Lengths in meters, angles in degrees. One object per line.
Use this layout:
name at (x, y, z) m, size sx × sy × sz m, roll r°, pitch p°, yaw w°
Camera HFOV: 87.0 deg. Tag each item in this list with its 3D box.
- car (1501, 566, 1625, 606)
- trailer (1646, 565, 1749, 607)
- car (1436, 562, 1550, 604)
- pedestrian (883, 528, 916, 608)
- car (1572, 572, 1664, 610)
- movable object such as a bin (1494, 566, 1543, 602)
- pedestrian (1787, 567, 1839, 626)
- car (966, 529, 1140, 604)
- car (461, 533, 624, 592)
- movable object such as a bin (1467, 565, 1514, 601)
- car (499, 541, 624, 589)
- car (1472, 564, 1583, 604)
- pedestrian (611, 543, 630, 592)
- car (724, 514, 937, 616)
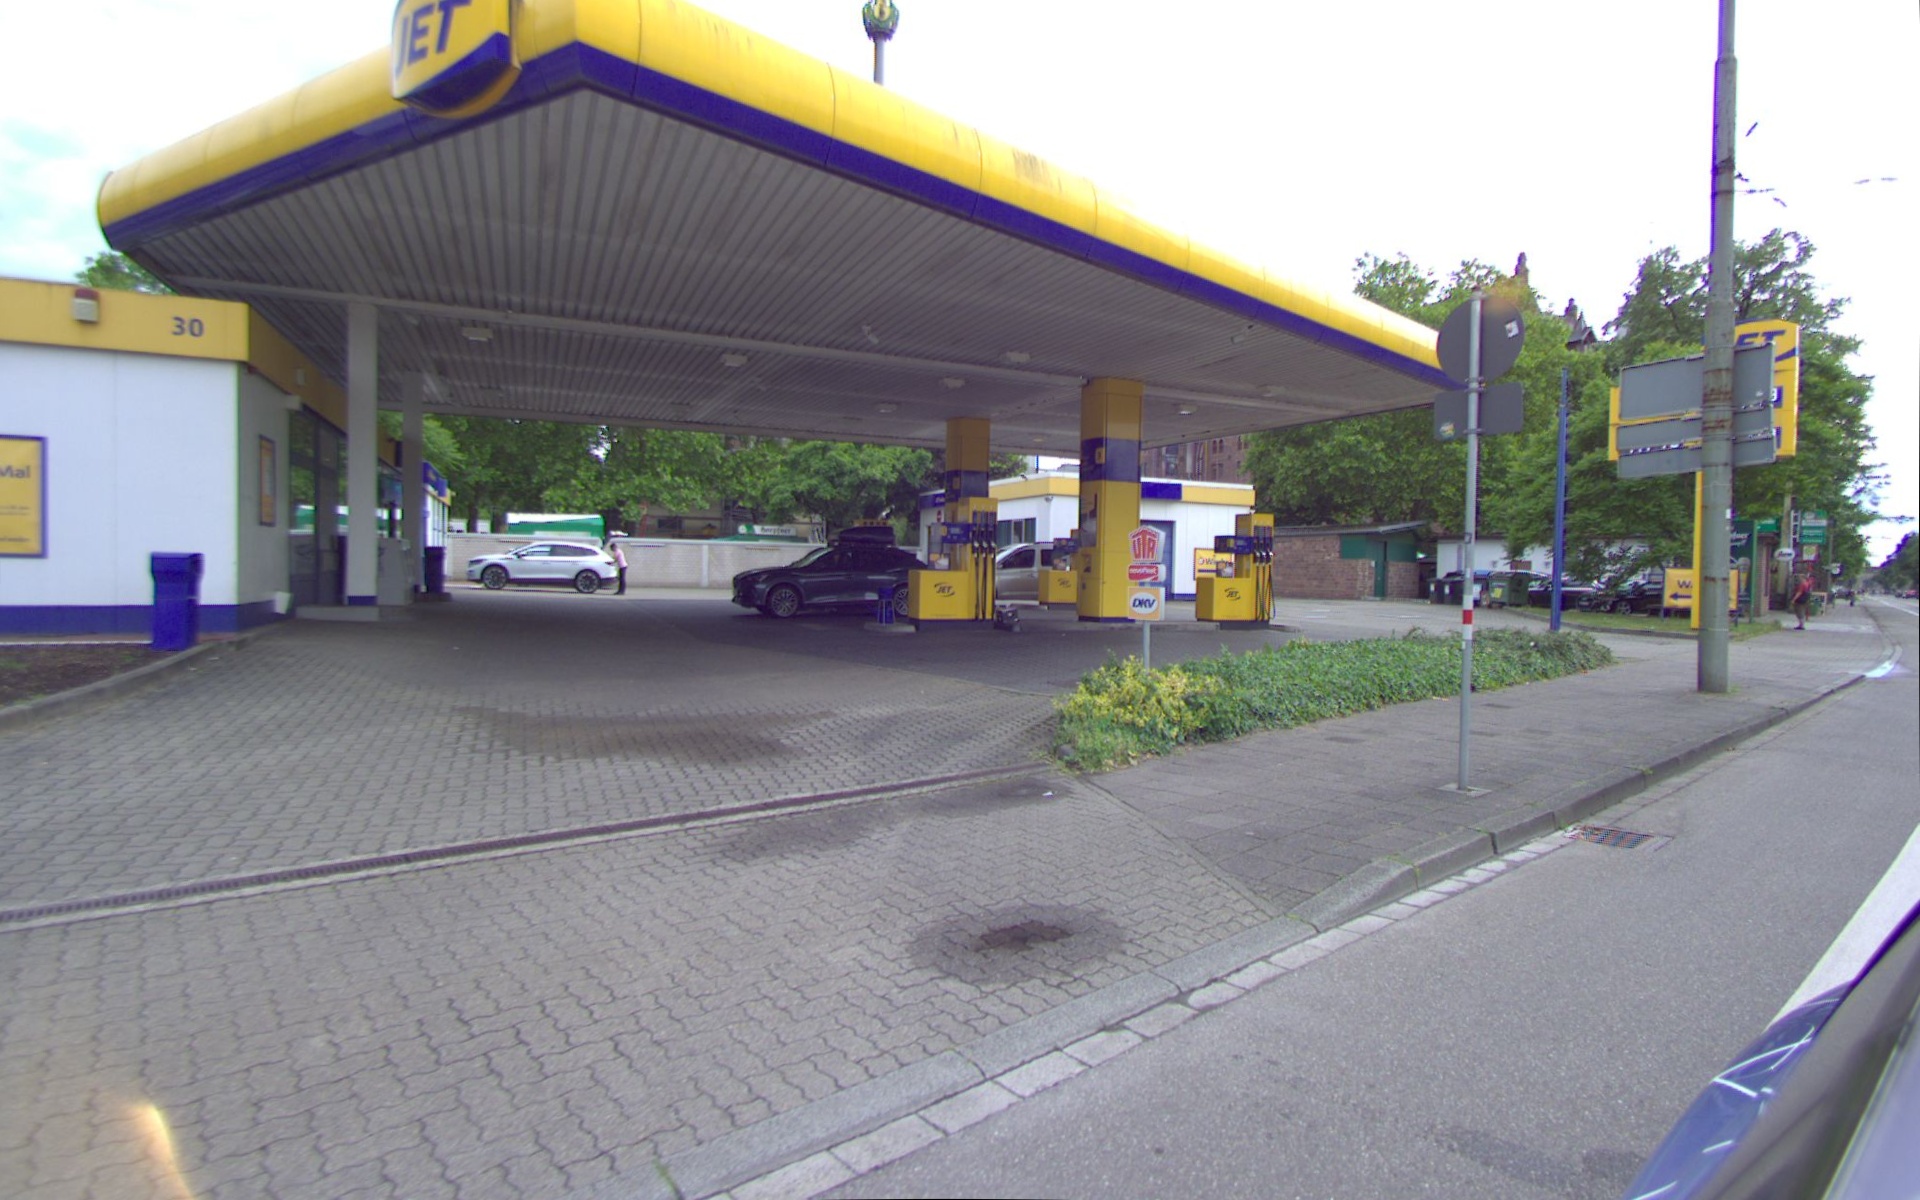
car at (24.001, -0.569, 40.379) m, size 3.919 × 1.536 × 1.829 m, roll 0°, pitch 1°, yaw -6°
trailer at (31.080, -0.619, 42.686) m, size 3.284 × 1.549 × 1.747 m, roll 5°, pitch 6°, yaw 44°
car at (22.407, -0.739, 42.626) m, size 3.942 × 1.716 × 1.815 m, roll 0°, pitch 1°, yaw -10°
pedestrian at (-1.409, -0.739, 23.488) m, size 0.614 × 1.809 × 0.709 m, roll 0°, pitch 1°, yaw -19°
car at (24.392, -0.362, 37.475) m, size 3.934 × 1.304 × 1.996 m, roll -1°, pitch 2°, yaw -44°
movable object such as a bin at (21.017, -0.607, 38.119) m, size 1.136 × 1.336 × 1.123 m, roll 0°, pitch 1°, yaw -13°
pedestrian at (26.957, -0.123, 32.008) m, size 0.858 × 1.768 × 0.846 m, roll 4°, pitch 4°, yaw 18°
car at (2.617, -0.959, 28.792) m, size 4.432 × 1.865 × 1.993 m, roll 2°, pitch 3°, yaw -16°
car at (-13.381, -1.176, 32.551) m, size 4.662 × 1.615 × 1.946 m, roll 2°, pitch 1°, yaw -24°
movable object such as a bin at (20.591, -0.668, 39.305) m, size 1.136 × 1.375 × 1.123 m, roll 0°, pitch 1°, yaw -13°
car at (-15.406, -1.340, 39.184) m, size 4.333 × 1.606 × 1.963 m, roll 2°, pitch 0°, yaw -23°
car at (25.396, -0.747, 45.316) m, size 3.987 × 1.687 × 1.969 m, roll 1°, pitch 2°, yaw 44°
pedestrian at (-11.264, -1.076, 33.580) m, size 0.539 × 1.563 × 0.500 m, roll 2°, pitch 1°, yaw -19°
car at (-2.775, -0.759, 21.756) m, size 4.166 × 2.012 × 1.828 m, roll -1°, pitch 3°, yaw -26°
